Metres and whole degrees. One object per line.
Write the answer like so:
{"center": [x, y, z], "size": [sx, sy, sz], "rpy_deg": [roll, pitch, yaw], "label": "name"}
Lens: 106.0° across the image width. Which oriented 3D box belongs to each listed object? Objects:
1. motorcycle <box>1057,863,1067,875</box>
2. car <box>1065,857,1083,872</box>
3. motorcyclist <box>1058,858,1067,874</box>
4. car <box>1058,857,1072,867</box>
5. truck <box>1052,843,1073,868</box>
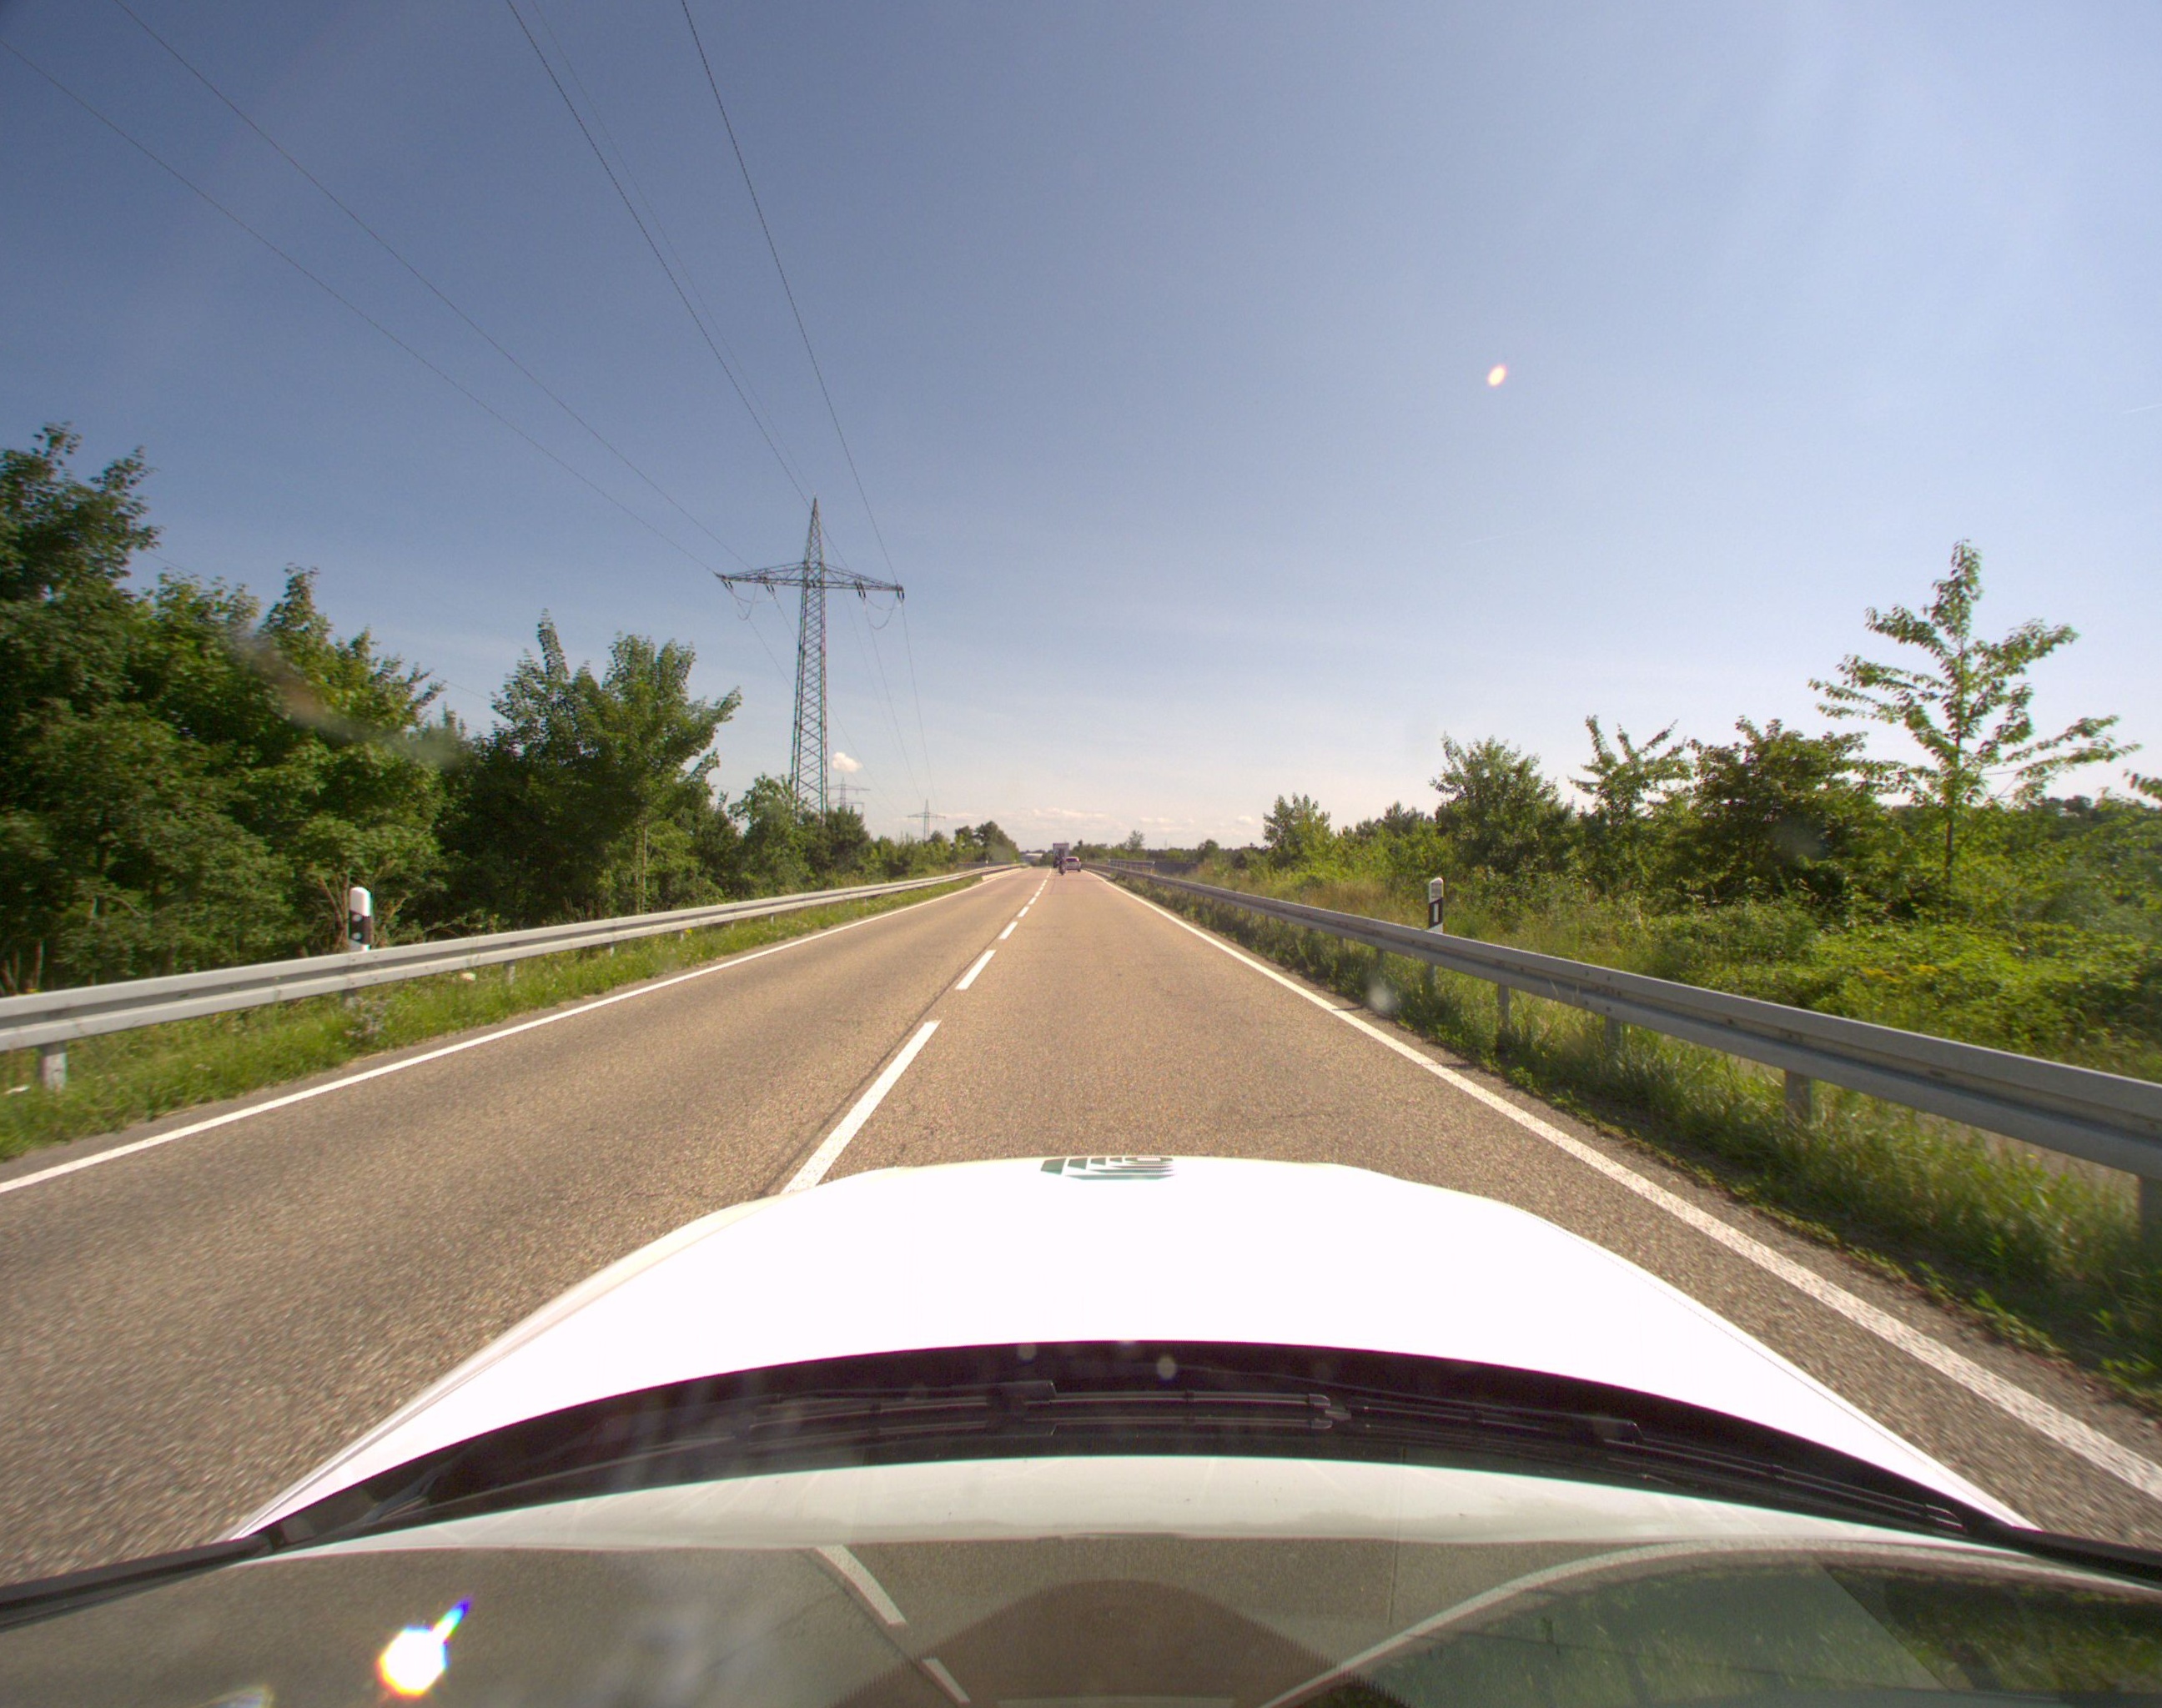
{"center": [-1.568, 1.280, 68.453], "size": [0.778, 0.975, 2.361], "rpy_deg": [0, 0, 0], "label": "motorcycle"}
{"center": [-0.739, 1.110, 84.682], "size": [1.820, 1.451, 3.998], "rpy_deg": [0, 0, -1], "label": "car"}
{"center": [-1.559, 1.037, 68.474], "size": [0.778, 1.325, 0.813], "rpy_deg": [0, 0, 0], "label": "motorcyclist"}
{"center": [-2.172, 1.065, 109.737], "size": [1.860, 1.420, 3.999], "rpy_deg": [0, 0, -1], "label": "car"}
{"center": [-3.077, 0.245, 136.005], "size": [3.232, 3.979, 9.439], "rpy_deg": [0, 0, -1], "label": "truck"}
